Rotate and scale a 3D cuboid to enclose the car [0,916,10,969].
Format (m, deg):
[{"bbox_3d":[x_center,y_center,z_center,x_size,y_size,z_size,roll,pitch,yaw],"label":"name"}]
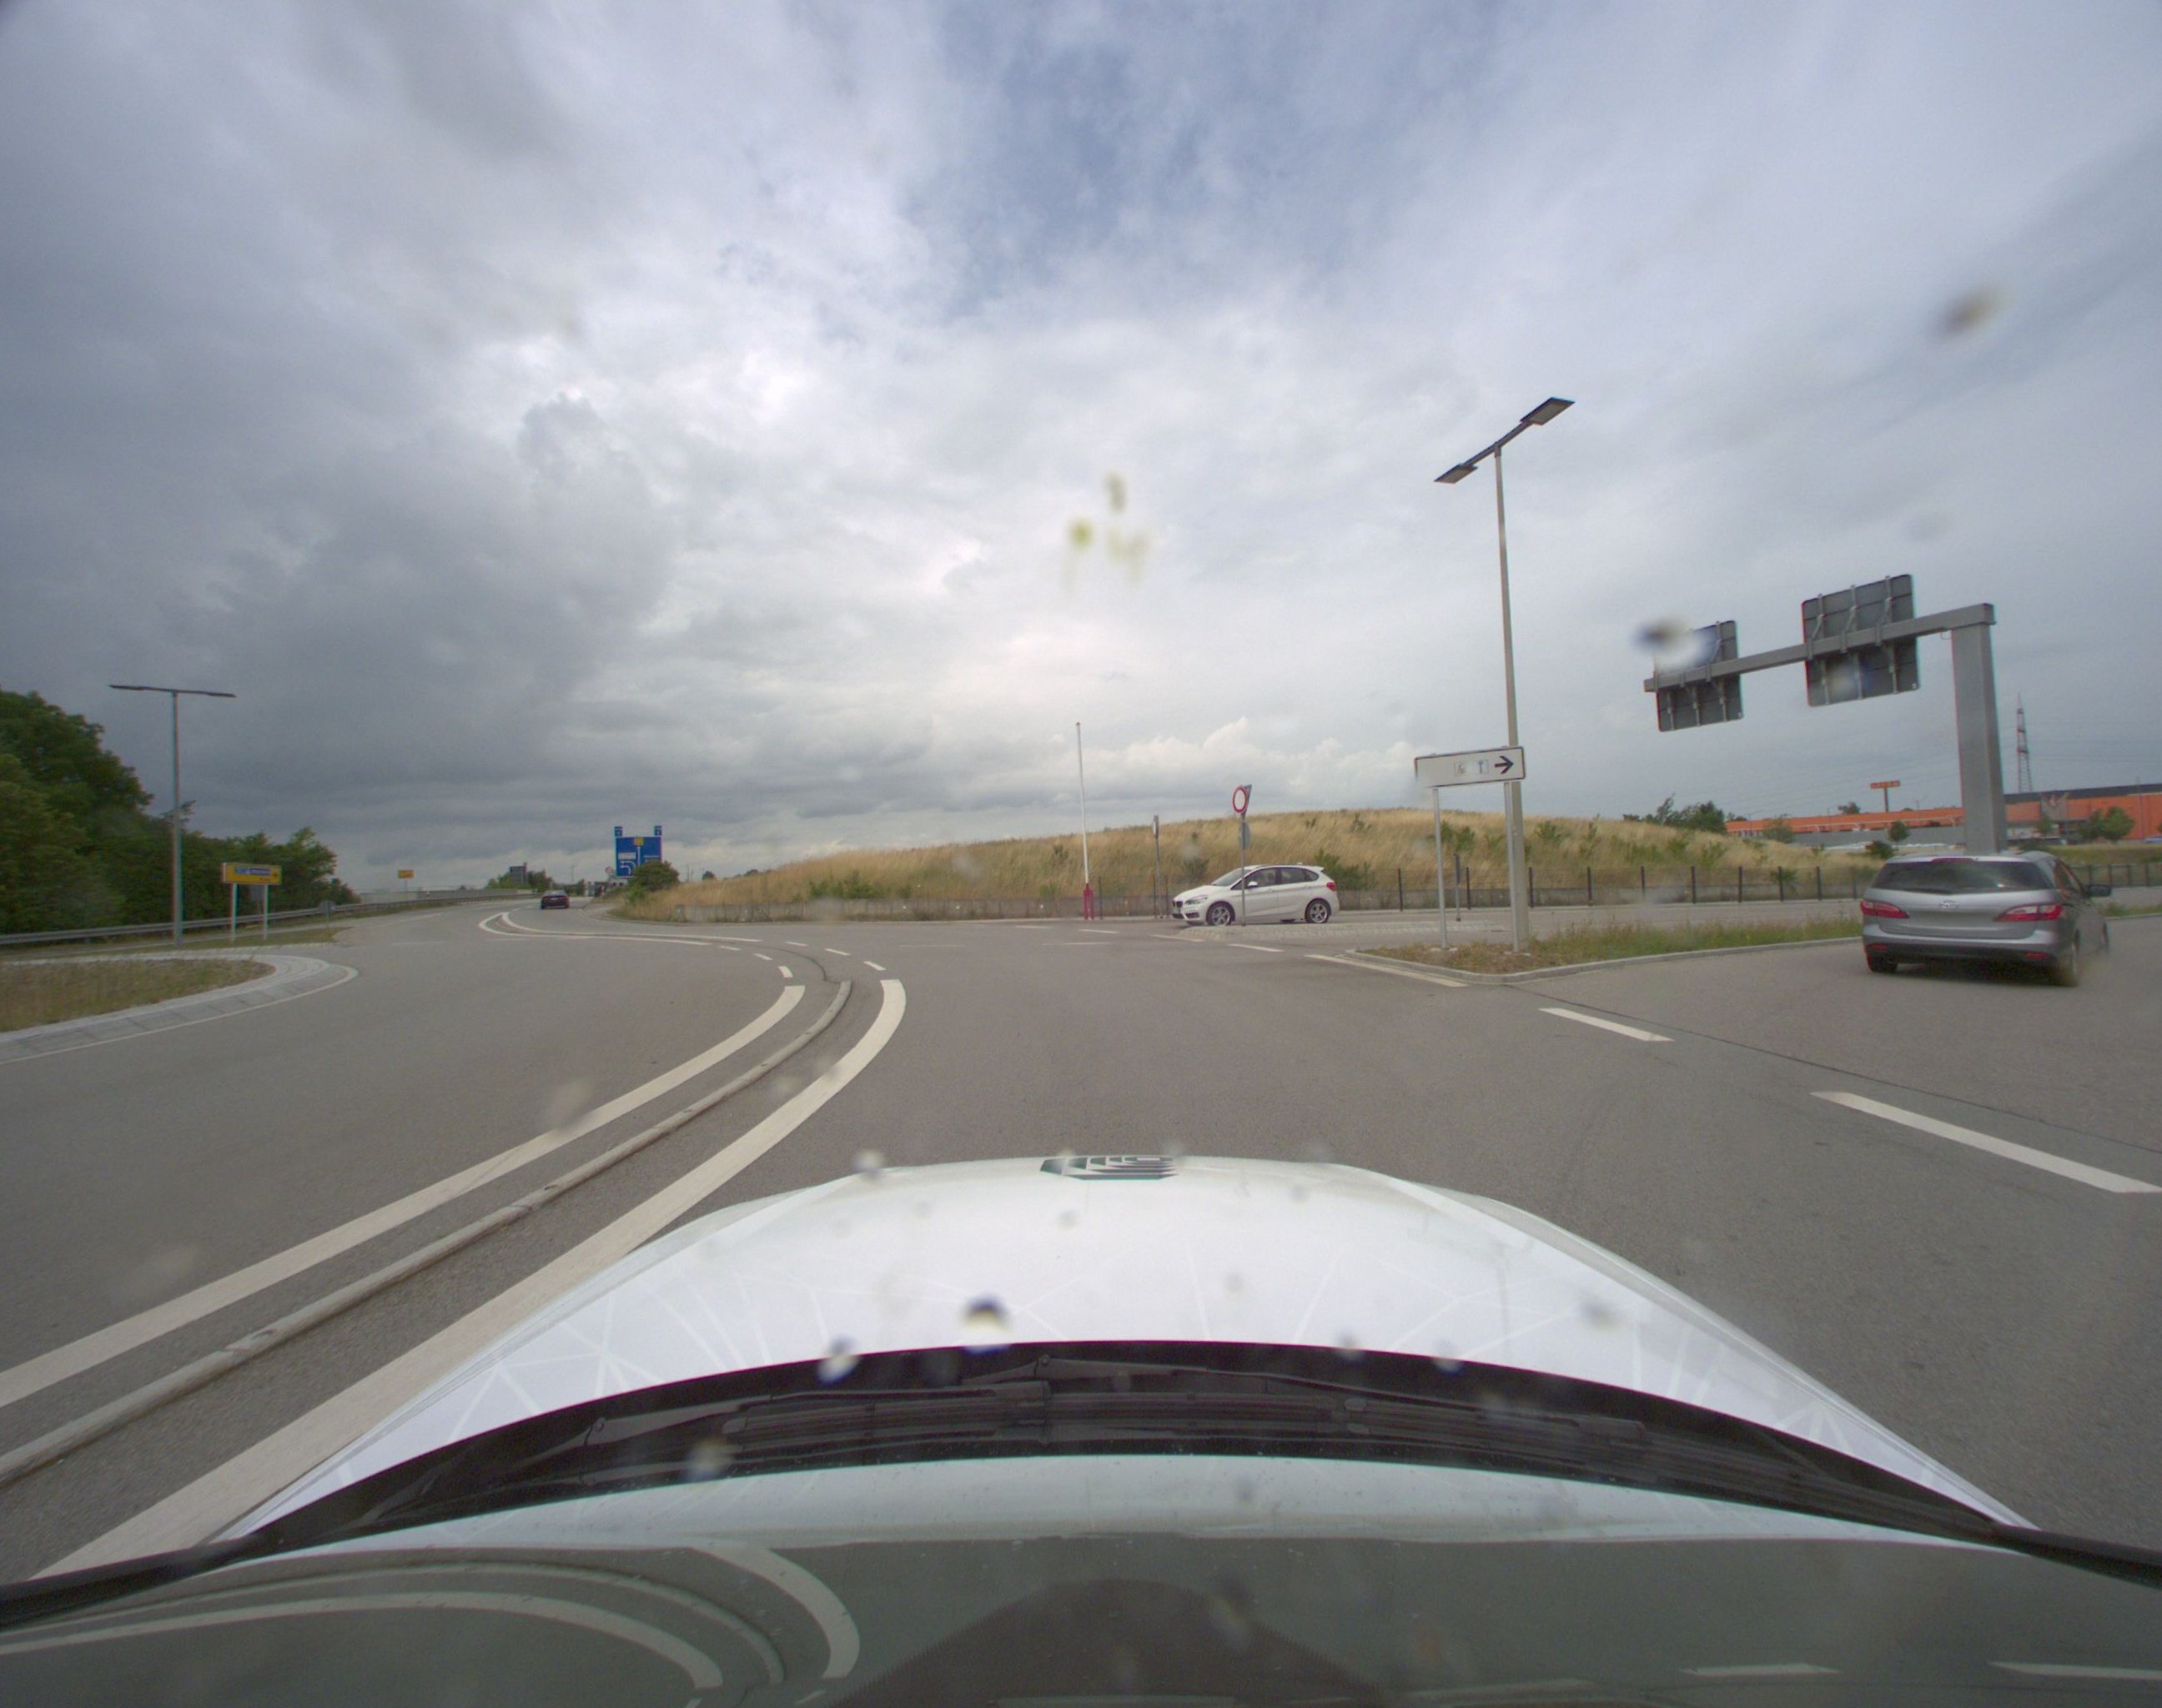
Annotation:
[{"bbox_3d":[-28.145,2.339,19.628,1.674,1.378,3.956,-3,1,-36],"label":"car"}]

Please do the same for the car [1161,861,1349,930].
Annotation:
[{"bbox_3d":[4.436,1.004,20.937,4.419,1.629,1.776,0,0,-14],"label":"car"}]

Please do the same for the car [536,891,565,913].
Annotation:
[{"bbox_3d":[-38.167,3.447,58.642,1.528,1.485,3.580,-1,-2,-30],"label":"car"}]

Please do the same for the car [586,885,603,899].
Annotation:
[{"bbox_3d":[-60.582,4.689,101.477,1.608,1.549,4.009,-3,1,-28],"label":"car"}]

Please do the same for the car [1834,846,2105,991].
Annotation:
[{"bbox_3d":[11.807,0.724,10.771,4.016,1.574,1.897,0,-1,-35],"label":"car"}]
